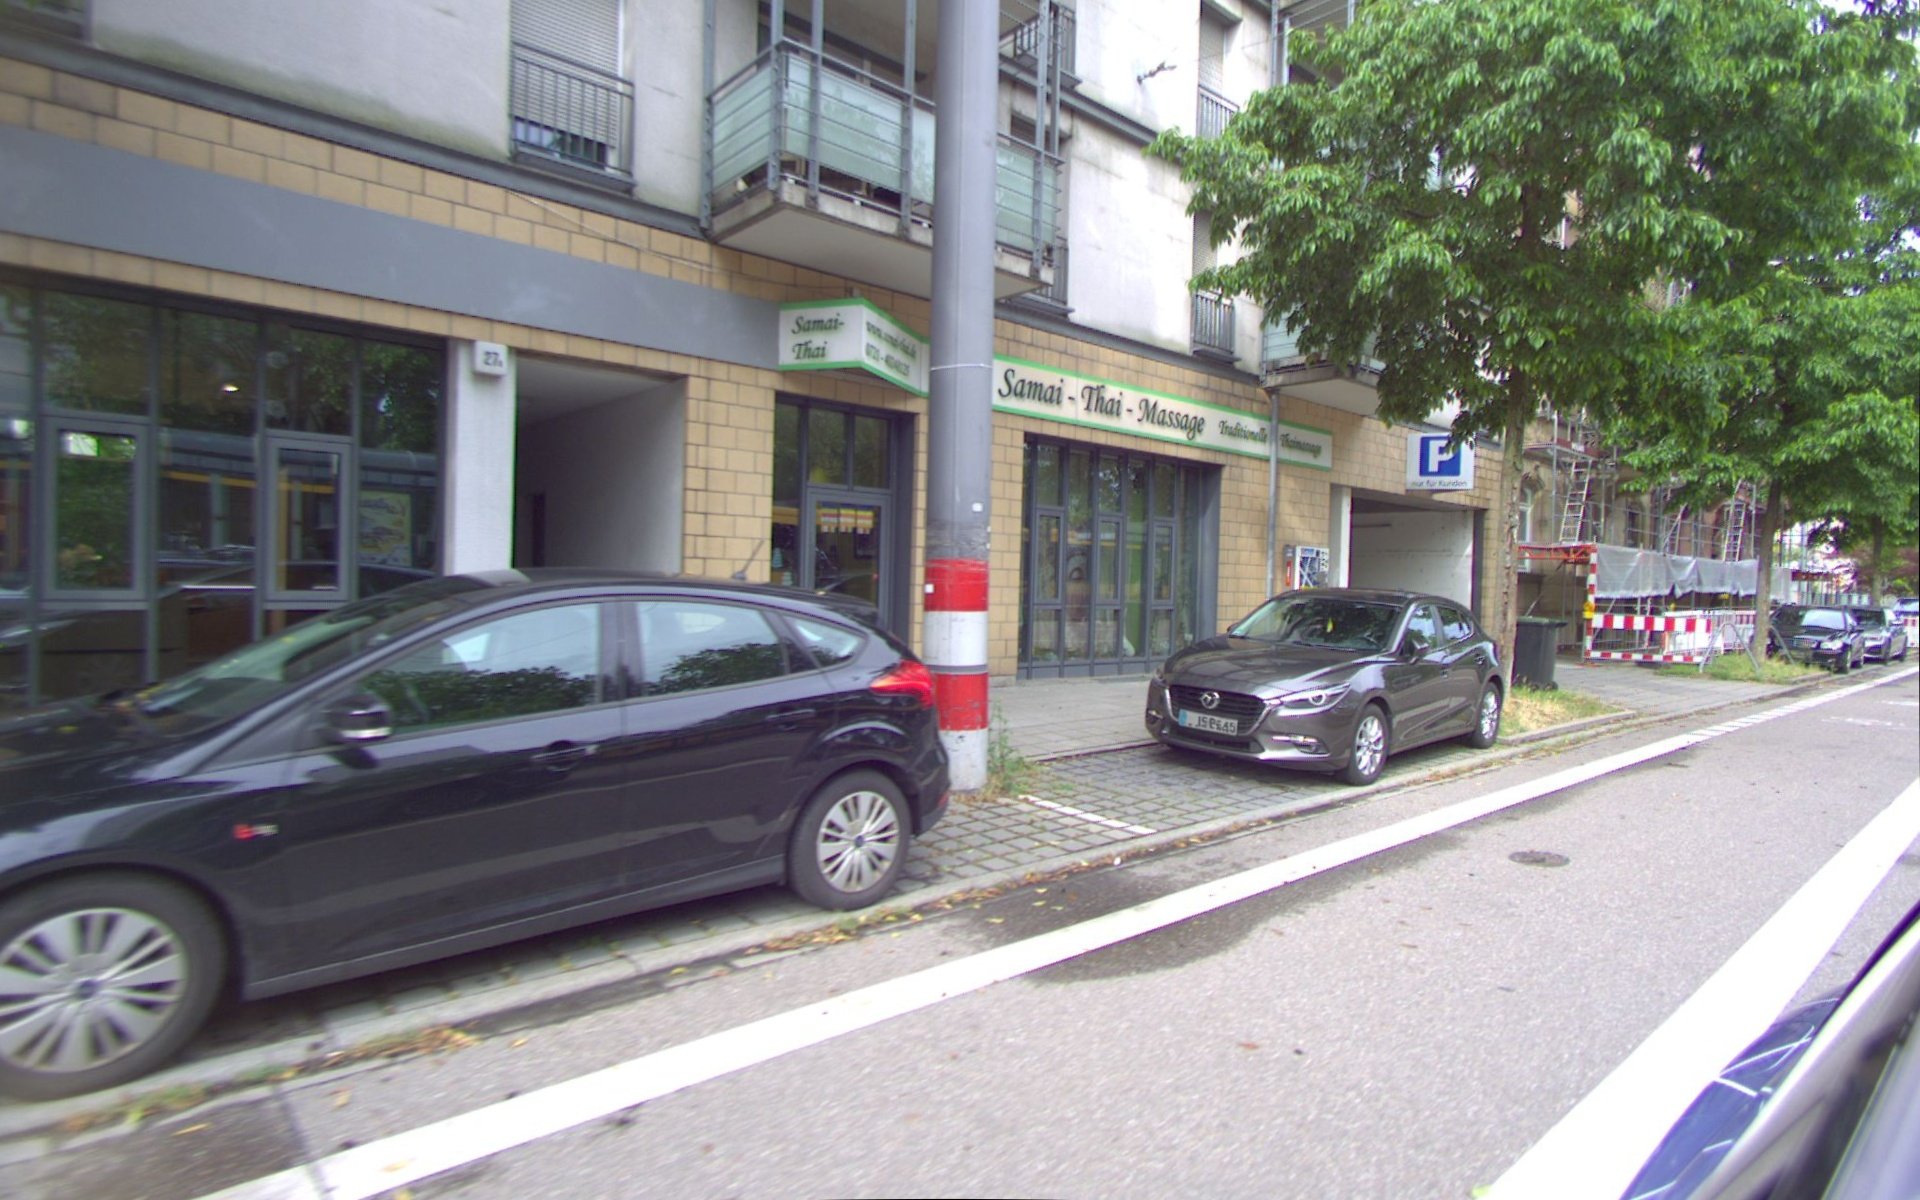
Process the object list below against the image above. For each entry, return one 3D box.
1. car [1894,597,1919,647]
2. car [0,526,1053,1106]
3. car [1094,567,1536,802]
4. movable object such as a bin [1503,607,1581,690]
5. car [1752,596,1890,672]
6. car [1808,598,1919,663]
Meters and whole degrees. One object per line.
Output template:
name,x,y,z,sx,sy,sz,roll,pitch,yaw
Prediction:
car,35.963,0.828,37.258,4.205,1.751,1.836,0,3,-41
car,-1.766,0.524,4.256,4.329,1.459,1.681,0,4,-40
car,3.286,0.542,8.889,4.315,1.472,1.801,0,4,-43
movable object such as a bin,8.074,0.661,14.042,0.531,1.067,0.763,1,2,-40
car,19.582,0.704,22.955,4.205,1.478,1.754,0,3,-41
car,23.904,0.745,26.655,4.205,1.478,1.754,0,3,-41
